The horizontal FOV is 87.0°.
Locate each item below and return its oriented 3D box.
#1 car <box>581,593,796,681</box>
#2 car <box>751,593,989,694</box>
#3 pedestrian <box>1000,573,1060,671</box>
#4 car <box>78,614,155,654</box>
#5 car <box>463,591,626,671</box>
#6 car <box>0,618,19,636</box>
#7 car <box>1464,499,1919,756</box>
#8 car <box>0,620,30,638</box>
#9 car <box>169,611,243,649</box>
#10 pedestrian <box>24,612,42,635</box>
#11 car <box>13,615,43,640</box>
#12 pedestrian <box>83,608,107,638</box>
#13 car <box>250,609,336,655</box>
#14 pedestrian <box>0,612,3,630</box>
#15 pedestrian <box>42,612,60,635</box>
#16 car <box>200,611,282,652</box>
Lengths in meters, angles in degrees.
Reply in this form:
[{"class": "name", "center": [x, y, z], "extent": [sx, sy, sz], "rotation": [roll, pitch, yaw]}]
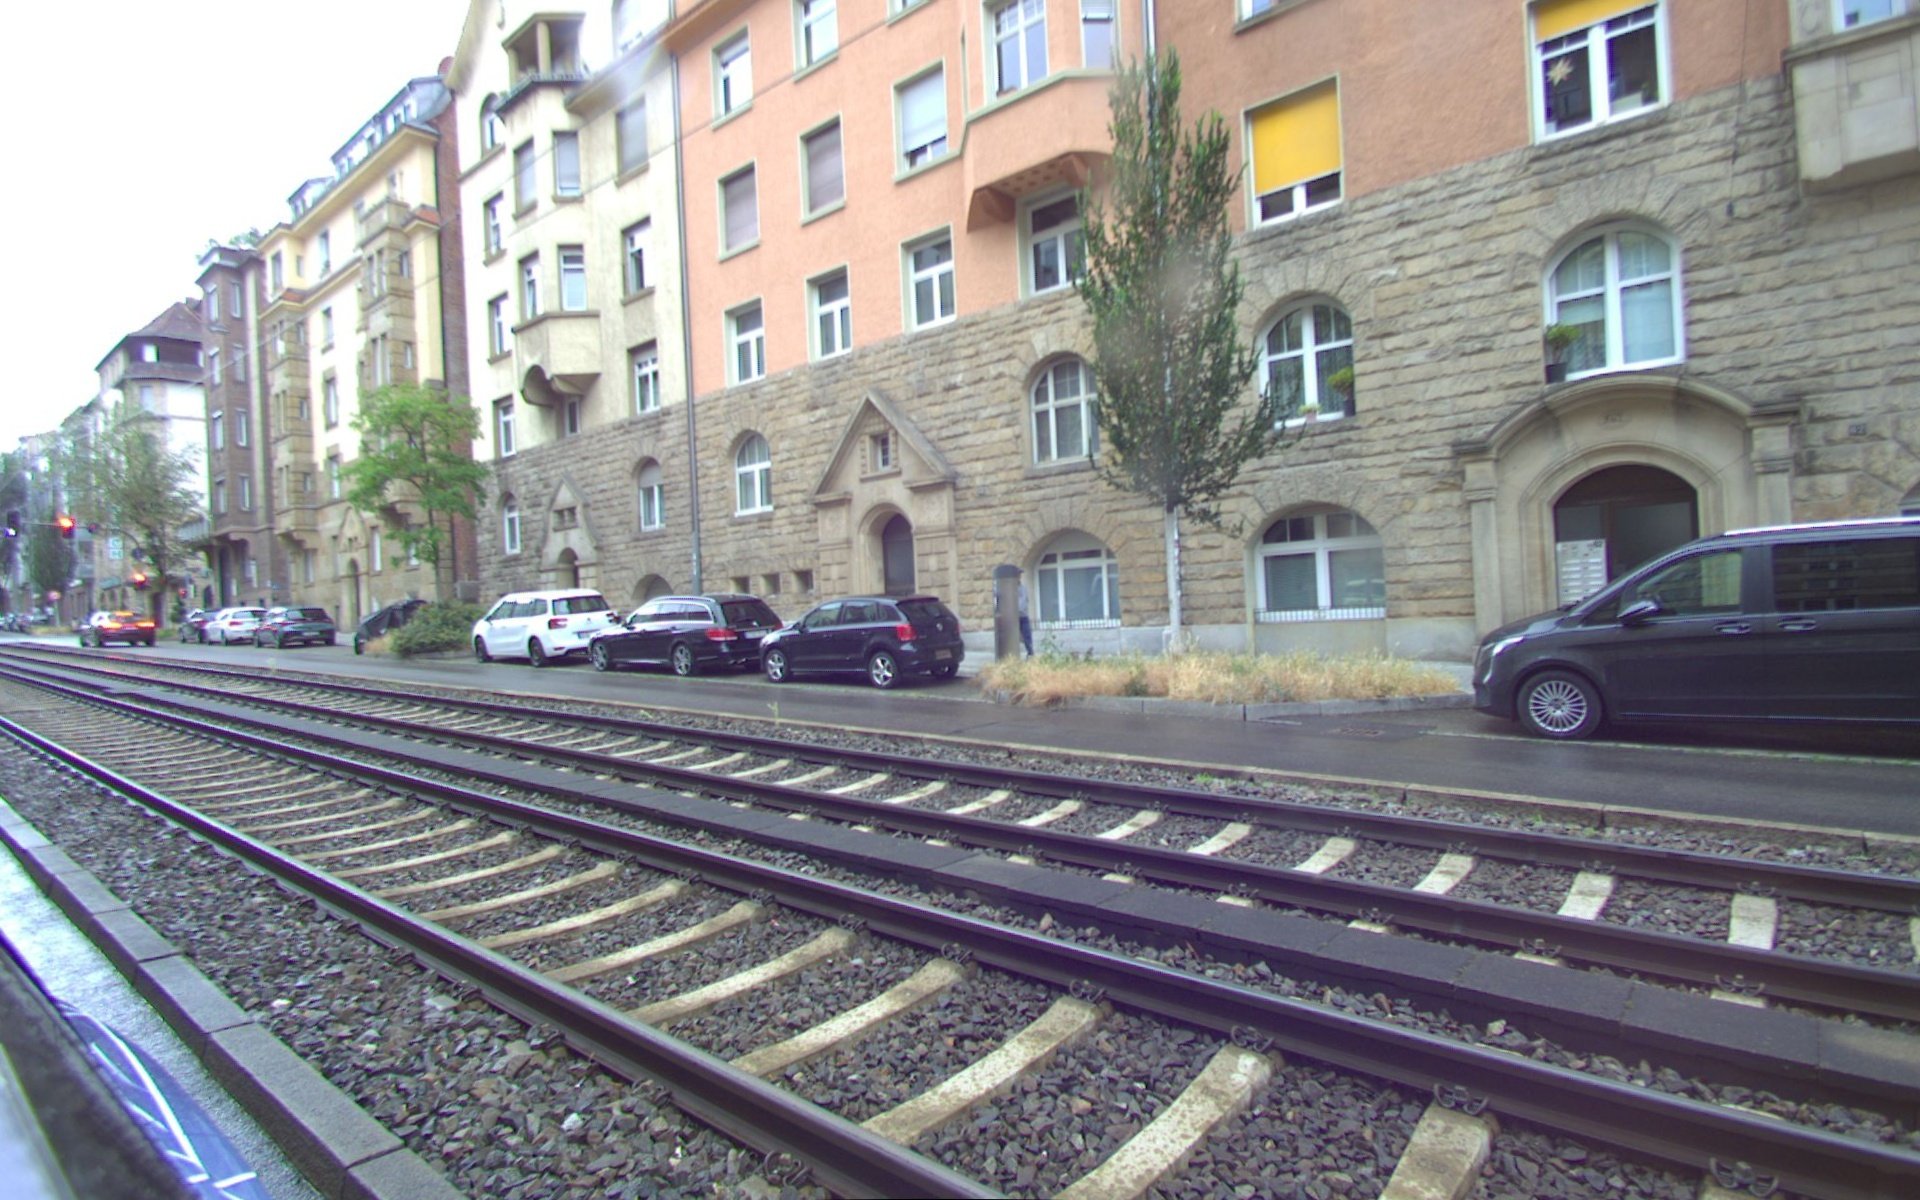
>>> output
[{"class": "car", "center": [-5.431, 0.693, 19.942], "extent": [4.599, 1.506, 1.824], "rotation": [-1, 0, 41]}, {"class": "car", "center": [-1.549, 0.664, 16.921], "extent": [3.638, 1.508, 1.912], "rotation": [-1, 0, 38]}, {"class": "pedestrian", "center": [1.226, 0.368, 17.637], "extent": [0.765, 1.654, 0.692], "rotation": [-1, 0, 41]}, {"class": "car", "center": [-35.008, 1.381, 41.947], "extent": [4.963, 1.535, 1.784], "rotation": [-1, 0, 42]}, {"class": "car", "center": [-9.738, 0.698, 23.615], "extent": [4.144, 1.668, 1.843], "rotation": [-1, 0, 41]}, {"class": "car", "center": [-80.912, 2.292, 85.414], "extent": [3.843, 1.527, 1.748], "rotation": [-1, 0, 41]}, {"class": "car", "center": [7.353, 0.210, 8.987], "extent": [4.823, 1.956, 1.973], "rotation": [-1, 0, 41]}, {"class": "car", "center": [-74.285, 2.284, 79.341], "extent": [3.843, 1.321, 1.563], "rotation": [-1, 0, 41]}, {"class": "car", "center": [-32.138, 1.264, 43.089], "extent": [3.843, 1.452, 1.748], "rotation": [-1, 0, 41]}, {"class": "pedestrian", "center": [-80.634, 2.047, 88.016], "extent": [1.163, 1.972, 1.042], "rotation": [-1, 0, 43]}, {"class": "car", "center": [-69.036, 1.994, 74.976], "extent": [1.561, 1.691, 3.794], "rotation": [-2, 2, -43]}, {"class": "pedestrian", "center": [-59.460, 1.567, 69.558], "extent": [1.163, 1.972, 1.042], "rotation": [-1, 0, 43]}, {"class": "car", "center": [-23.677, 1.093, 35.864], "extent": [3.845, 1.452, 1.656], "rotation": [-1, 1, 43]}, {"class": "pedestrian", "center": [-101.910, 2.241, 106.733], "extent": [1.379, 1.972, 1.362], "rotation": [-1, 0, 43]}, {"class": "pedestrian", "center": [-79.869, 2.039, 88.917], "extent": [1.163, 1.972, 1.042], "rotation": [-1, 0, 43]}, {"class": "car", "center": [-28.279, 1.210, 39.767], "extent": [4.030, 1.452, 1.748], "rotation": [-1, 1, 42]}]
